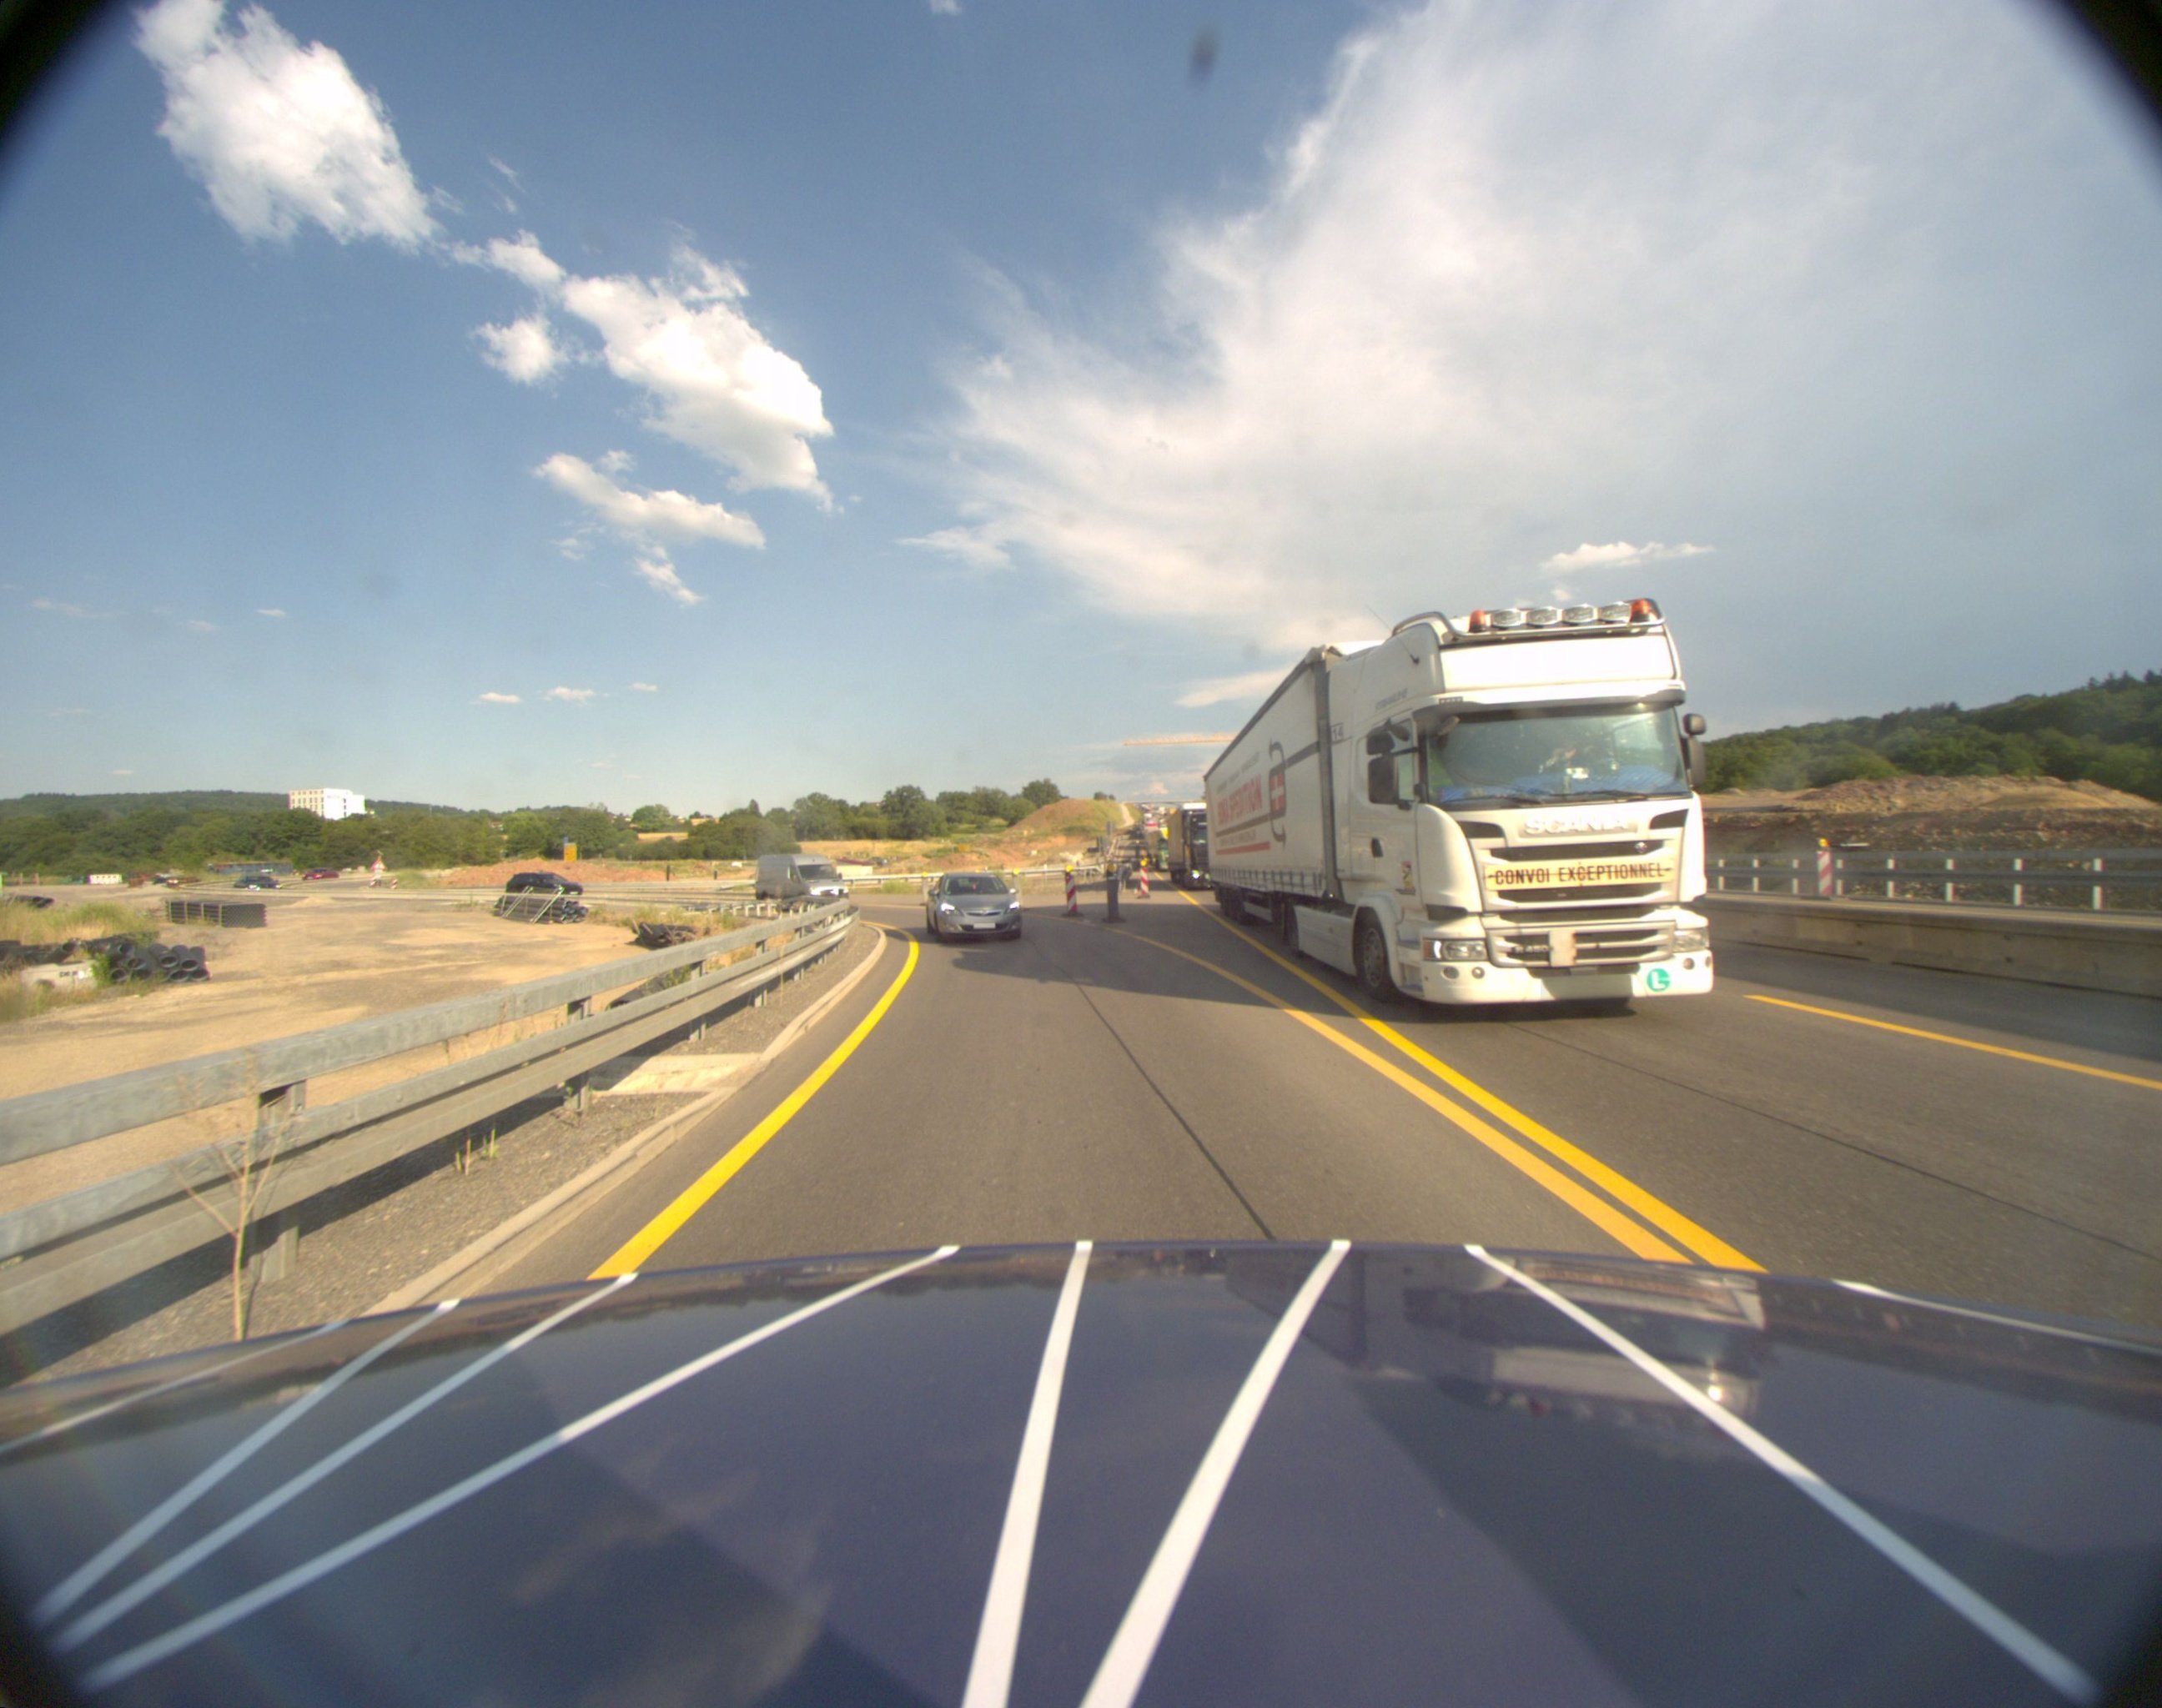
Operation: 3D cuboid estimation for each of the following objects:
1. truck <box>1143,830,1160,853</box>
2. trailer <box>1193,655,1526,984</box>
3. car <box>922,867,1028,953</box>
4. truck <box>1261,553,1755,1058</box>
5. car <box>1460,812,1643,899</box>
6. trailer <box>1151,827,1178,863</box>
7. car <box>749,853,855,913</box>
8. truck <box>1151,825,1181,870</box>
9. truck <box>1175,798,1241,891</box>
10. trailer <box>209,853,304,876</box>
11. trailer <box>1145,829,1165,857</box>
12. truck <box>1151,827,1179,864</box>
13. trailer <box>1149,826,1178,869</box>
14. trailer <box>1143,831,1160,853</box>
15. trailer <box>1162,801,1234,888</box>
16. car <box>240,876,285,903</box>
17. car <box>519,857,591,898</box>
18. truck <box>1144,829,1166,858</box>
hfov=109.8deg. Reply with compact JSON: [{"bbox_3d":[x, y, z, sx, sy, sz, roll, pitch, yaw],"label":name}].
[{"bbox_3d":[13.251,-2.325,143.034,3.110,4.289,6.898,0,1,5],"label":"truck"},{"bbox_3d":[4.324,-0.473,15.874,2.486,3.856,13.631,-1,1,3],"label":"trailer"},{"bbox_3d":[-2.508,1.129,17.046,1.749,1.476,4.246,-4,1,-15],"label":"car"},{"bbox_3d":[4.038,-0.392,8.916,2.486,3.856,6.011,-1,1,1],"label":"truck"},{"bbox_3d":[11.948,0.001,19.739,1.998,2.002,4.493,0,1,1],"label":"car"},{"bbox_3d":[10.504,-1.142,97.171,3.110,4.289,14.255,0,1,5],"label":"trailer"},{"bbox_3d":[-12.937,1.231,35.061,5.780,2.486,1.921,1,1,39],"label":"car"},{"bbox_3d":[7.835,-0.615,70.933,2.486,3.879,6.013,-1,1,4],"label":"truck"},{"bbox_3d":[5.956,-0.450,36.383,2.486,4.037,6.013,-1,1,4],"label":"truck"},{"bbox_3d":[-92.688,1.090,85.630,3.012,2.400,7.224,-1,1,-5],"label":"trailer"},{"bbox_3d":[11.946,-1.703,123.662,3.110,4.289,14.255,0,1,5],"label":"trailer"},{"bbox_3d":[9.985,-1.062,91.057,3.110,4.289,6.898,0,1,5],"label":"truck"},{"bbox_3d":[8.432,-0.712,78.729,2.486,3.936,13.979,-1,1,4],"label":"trailer"},{"bbox_3d":[14.021,-2.383,151.276,3.110,4.289,14.255,0,1,5],"label":"trailer"},{"bbox_3d":[6.294,-0.526,42.892,2.486,4.038,13.631,-1,1,3],"label":"trailer"},{"bbox_3d":[-61.091,2.600,56.685,4.115,1.776,1.640,1,1,34],"label":"car"},{"bbox_3d":[-32.943,1.431,47.592,3.990,2.389,1.880,0,1,25],"label":"car"},{"bbox_3d":[11.210,-1.631,115.432,3.110,4.289,6.898,0,1,5],"label":"truck"}]
